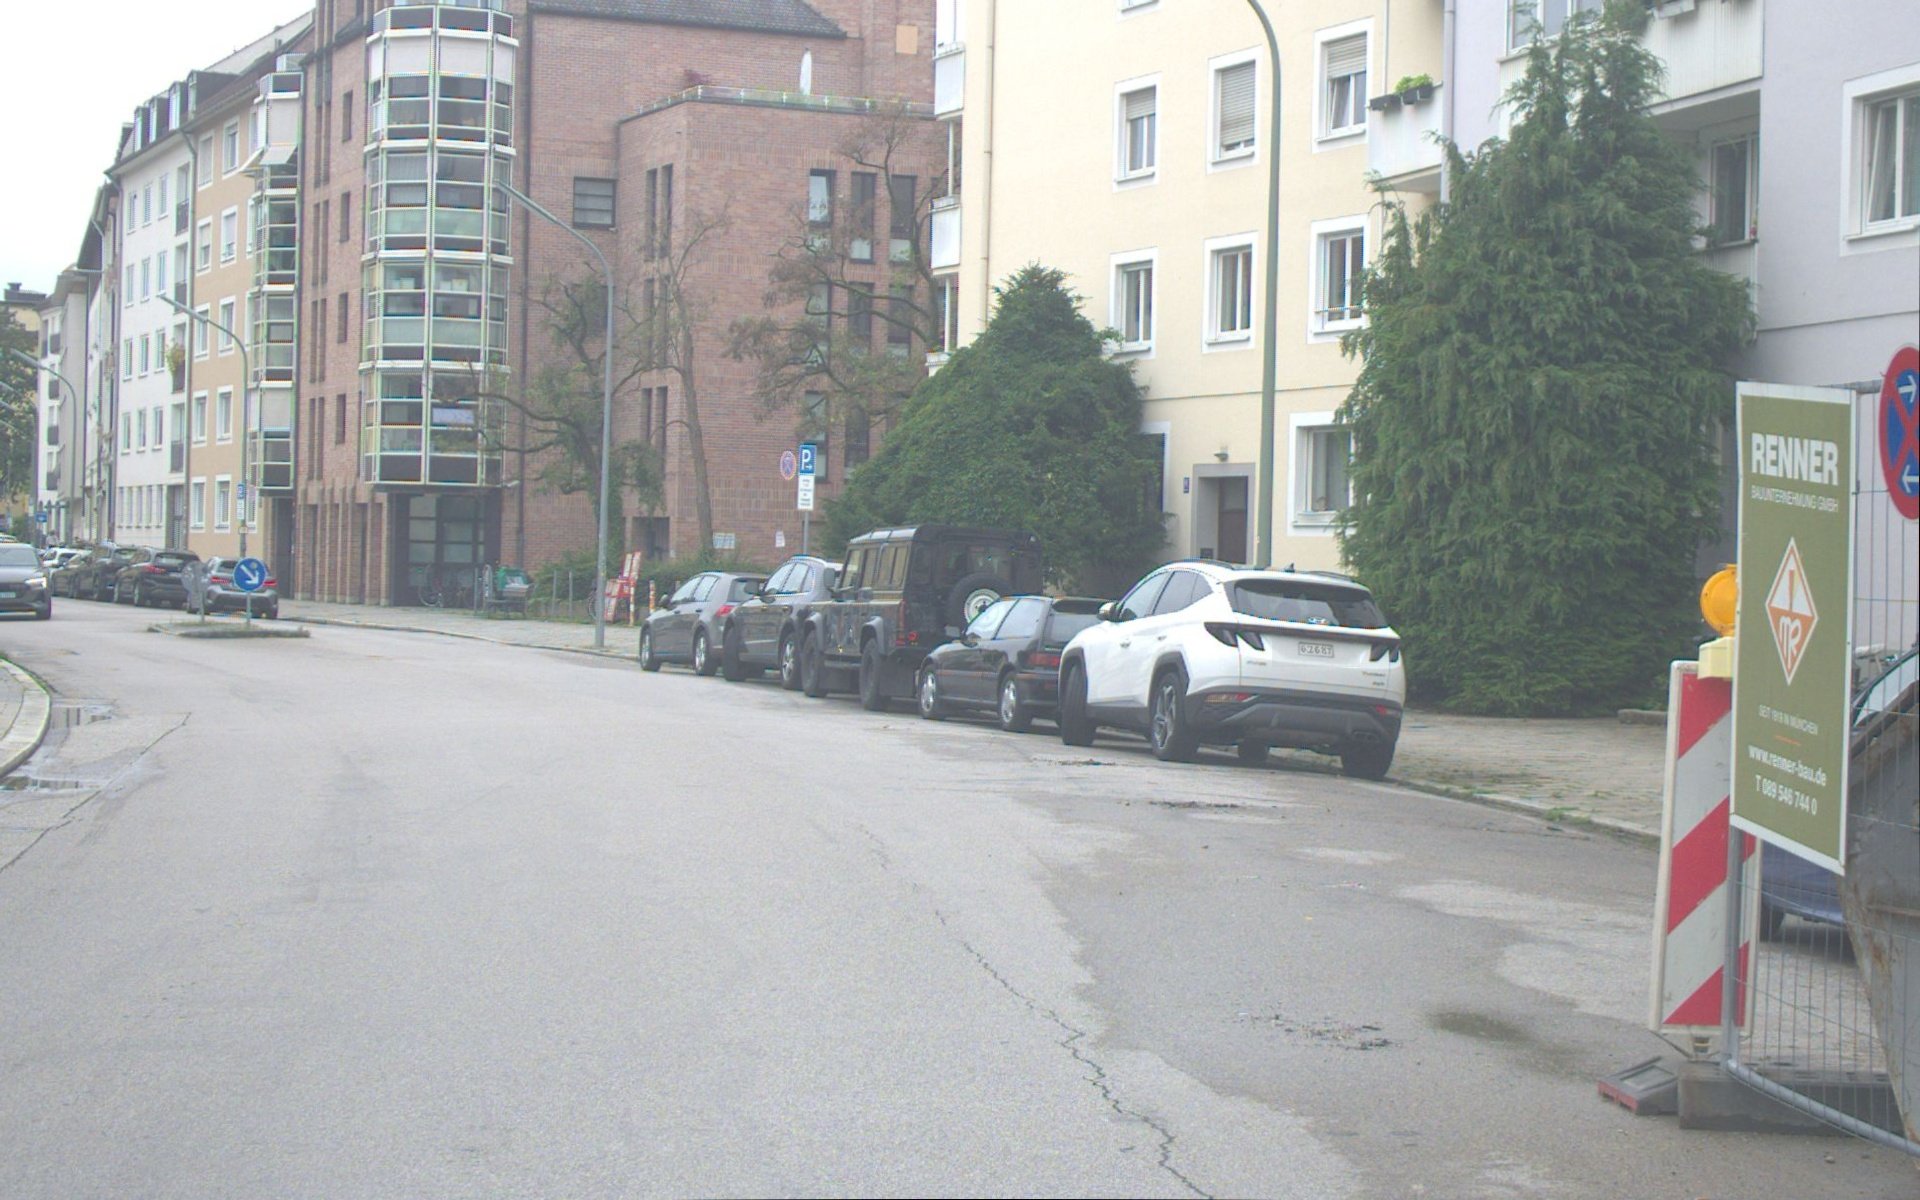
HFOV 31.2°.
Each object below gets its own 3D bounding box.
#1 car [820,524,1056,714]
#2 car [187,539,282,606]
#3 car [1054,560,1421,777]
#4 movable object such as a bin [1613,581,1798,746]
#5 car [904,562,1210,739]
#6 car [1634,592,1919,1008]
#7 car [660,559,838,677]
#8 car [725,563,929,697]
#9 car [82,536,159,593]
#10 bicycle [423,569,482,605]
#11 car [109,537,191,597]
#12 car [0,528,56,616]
[{"bbox_3d":[-0.296,0.165,37.616,1.780,1.970,3.721,0,1,-14],"label":"car"},{"bbox_3d":[-17.272,-0.666,81.759,1.632,1.478,3.611,2,1,-21],"label":"car"},{"bbox_3d":[2.205,0.515,28.432,1.830,1.568,4.001,2,1,-13],"label":"car"},{"bbox_3d":[6.927,0.572,31.988,1.289,1.429,1.051,-3,2,-14],"label":"movable object such as a bin"},{"bbox_3d":[0.873,0.449,33.325,1.780,1.513,3.721,3,1,-17],"label":"car"},{"bbox_3d":[4.213,0.747,13.725,1.780,1.434,4.282,2,1,-6],"label":"car"},{"bbox_3d":[-2.935,0.222,47.229,1.780,1.505,3.721,1,1,-14],"label":"car"},{"bbox_3d":[-1.708,0.344,42.916,1.780,1.505,3.721,2,0,-14],"label":"car"},{"bbox_3d":[-23.500,-1.009,96.197,1.632,1.478,3.611,2,1,-21],"label":"car"},{"bbox_3d":[-13.274,-0.343,89.872,1.101,0.851,1.728,2,1,-24],"label":"bicycle"},{"bbox_3d":[-21.559,-0.897,91.453,1.632,1.478,3.611,2,1,-21],"label":"car"},{"bbox_3d":[-20.771,-0.643,74.555,1.993,1.829,4.168,2,1,-18],"label":"car"}]
